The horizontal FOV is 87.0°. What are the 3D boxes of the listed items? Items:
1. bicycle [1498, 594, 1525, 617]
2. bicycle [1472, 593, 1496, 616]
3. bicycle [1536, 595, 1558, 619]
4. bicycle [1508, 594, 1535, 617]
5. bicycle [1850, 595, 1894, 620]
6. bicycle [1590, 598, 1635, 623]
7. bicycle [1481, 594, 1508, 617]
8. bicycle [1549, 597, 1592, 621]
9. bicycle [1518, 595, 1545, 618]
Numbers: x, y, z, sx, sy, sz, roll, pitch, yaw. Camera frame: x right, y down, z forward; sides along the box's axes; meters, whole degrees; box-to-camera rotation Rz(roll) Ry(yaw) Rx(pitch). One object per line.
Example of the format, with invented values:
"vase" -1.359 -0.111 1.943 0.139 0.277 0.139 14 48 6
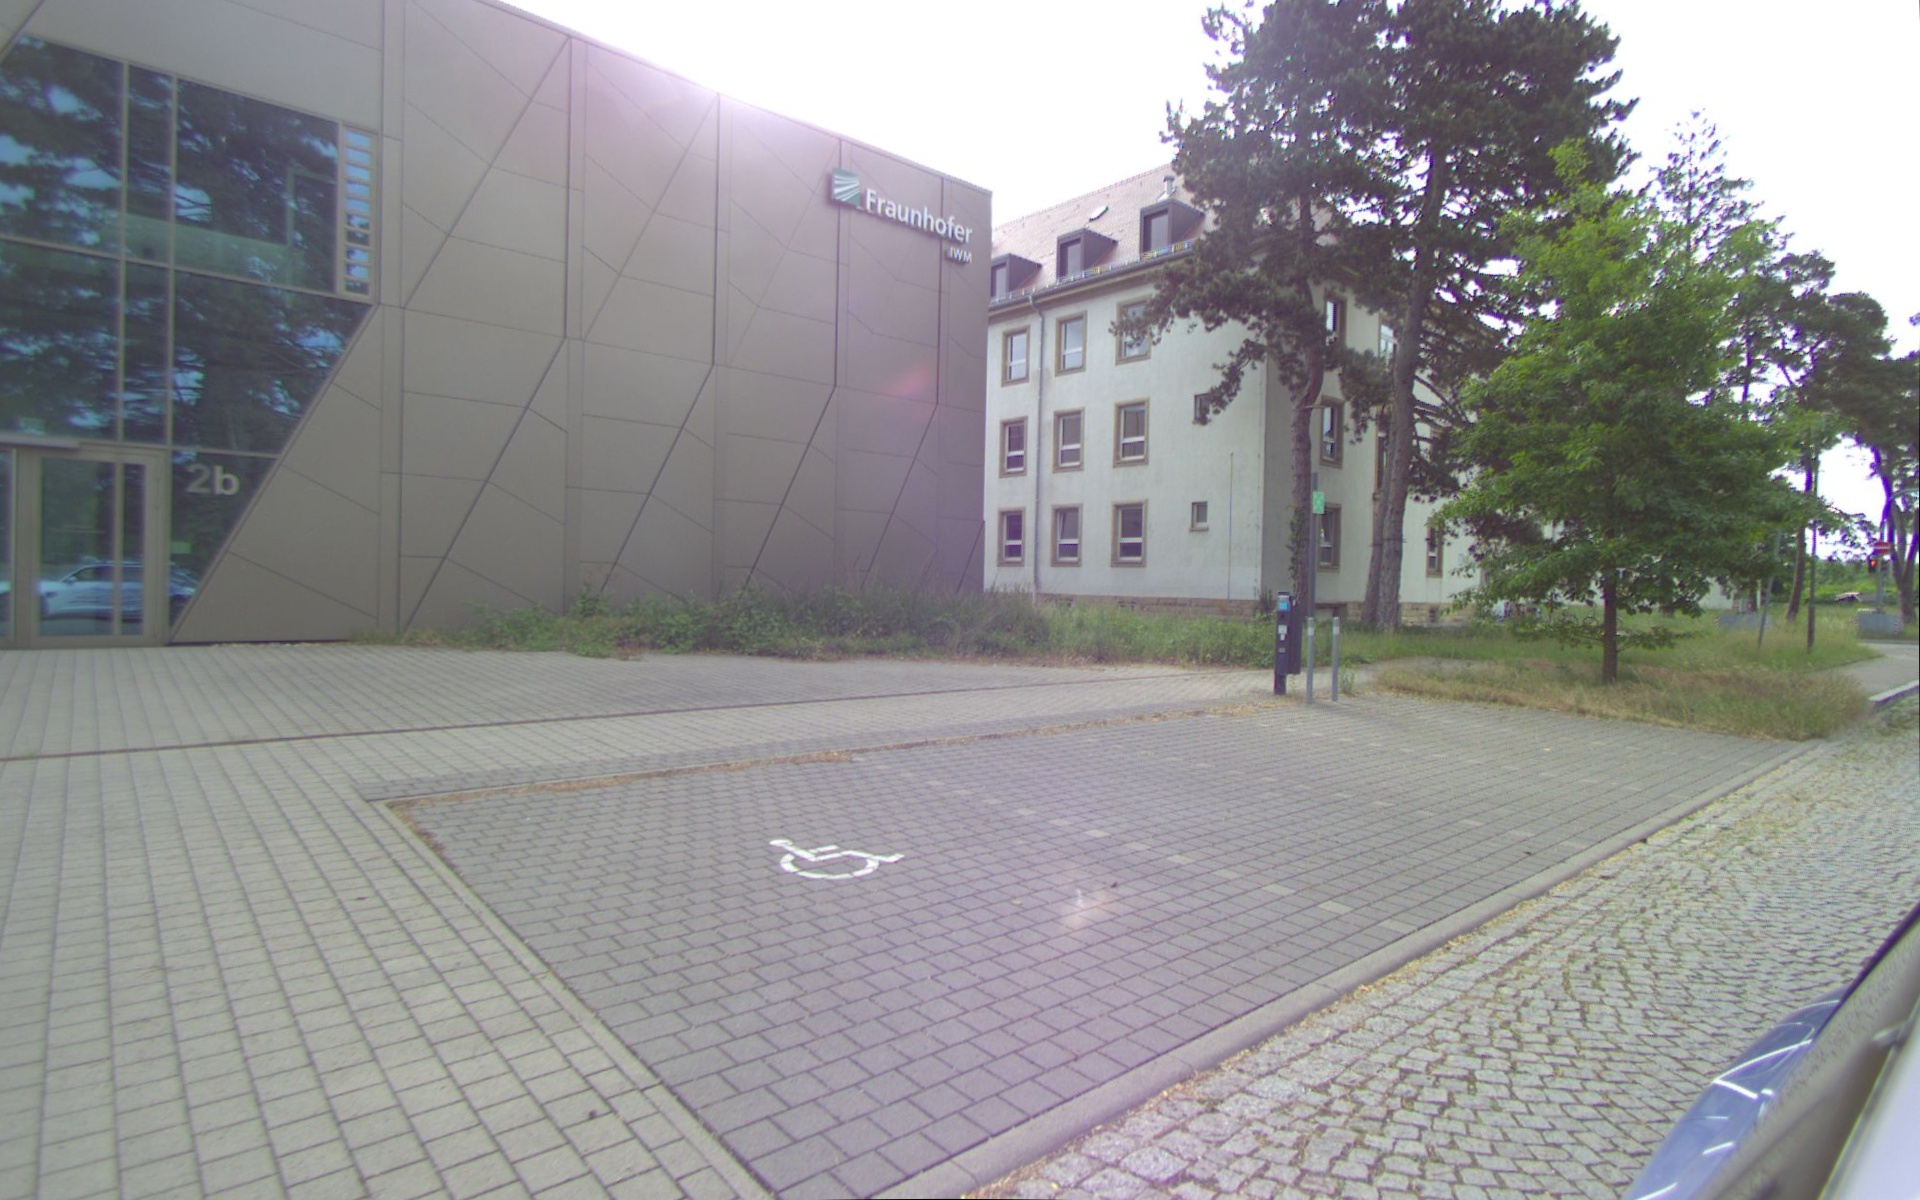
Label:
"bicycle" 28.185 0.292 51.707 1.697 1.142 0.448 1 1 -33
"bicycle" 27.307 0.225 52.719 1.699 1.142 0.448 0 1 -38
"bicycle" 29.331 0.347 50.596 1.629 1.142 0.476 0 1 -43
"bicycle" 28.449 0.291 51.303 1.668 1.142 0.448 1 1 -33
"bicycle" 41.574 0.349 46.140 1.622 1.099 0.616 1 1 -9
"bicycle" 30.375 0.470 47.144 0.604 1.099 1.653 0 1 -44
"bicycle" 27.632 0.296 52.274 1.697 1.142 0.448 1 1 -33
"bicycle" 29.161 0.412 48.335 0.603 1.099 1.655 1 1 -39
"bicycle" 28.754 0.317 50.914 1.670 1.142 0.477 1 1 -33
